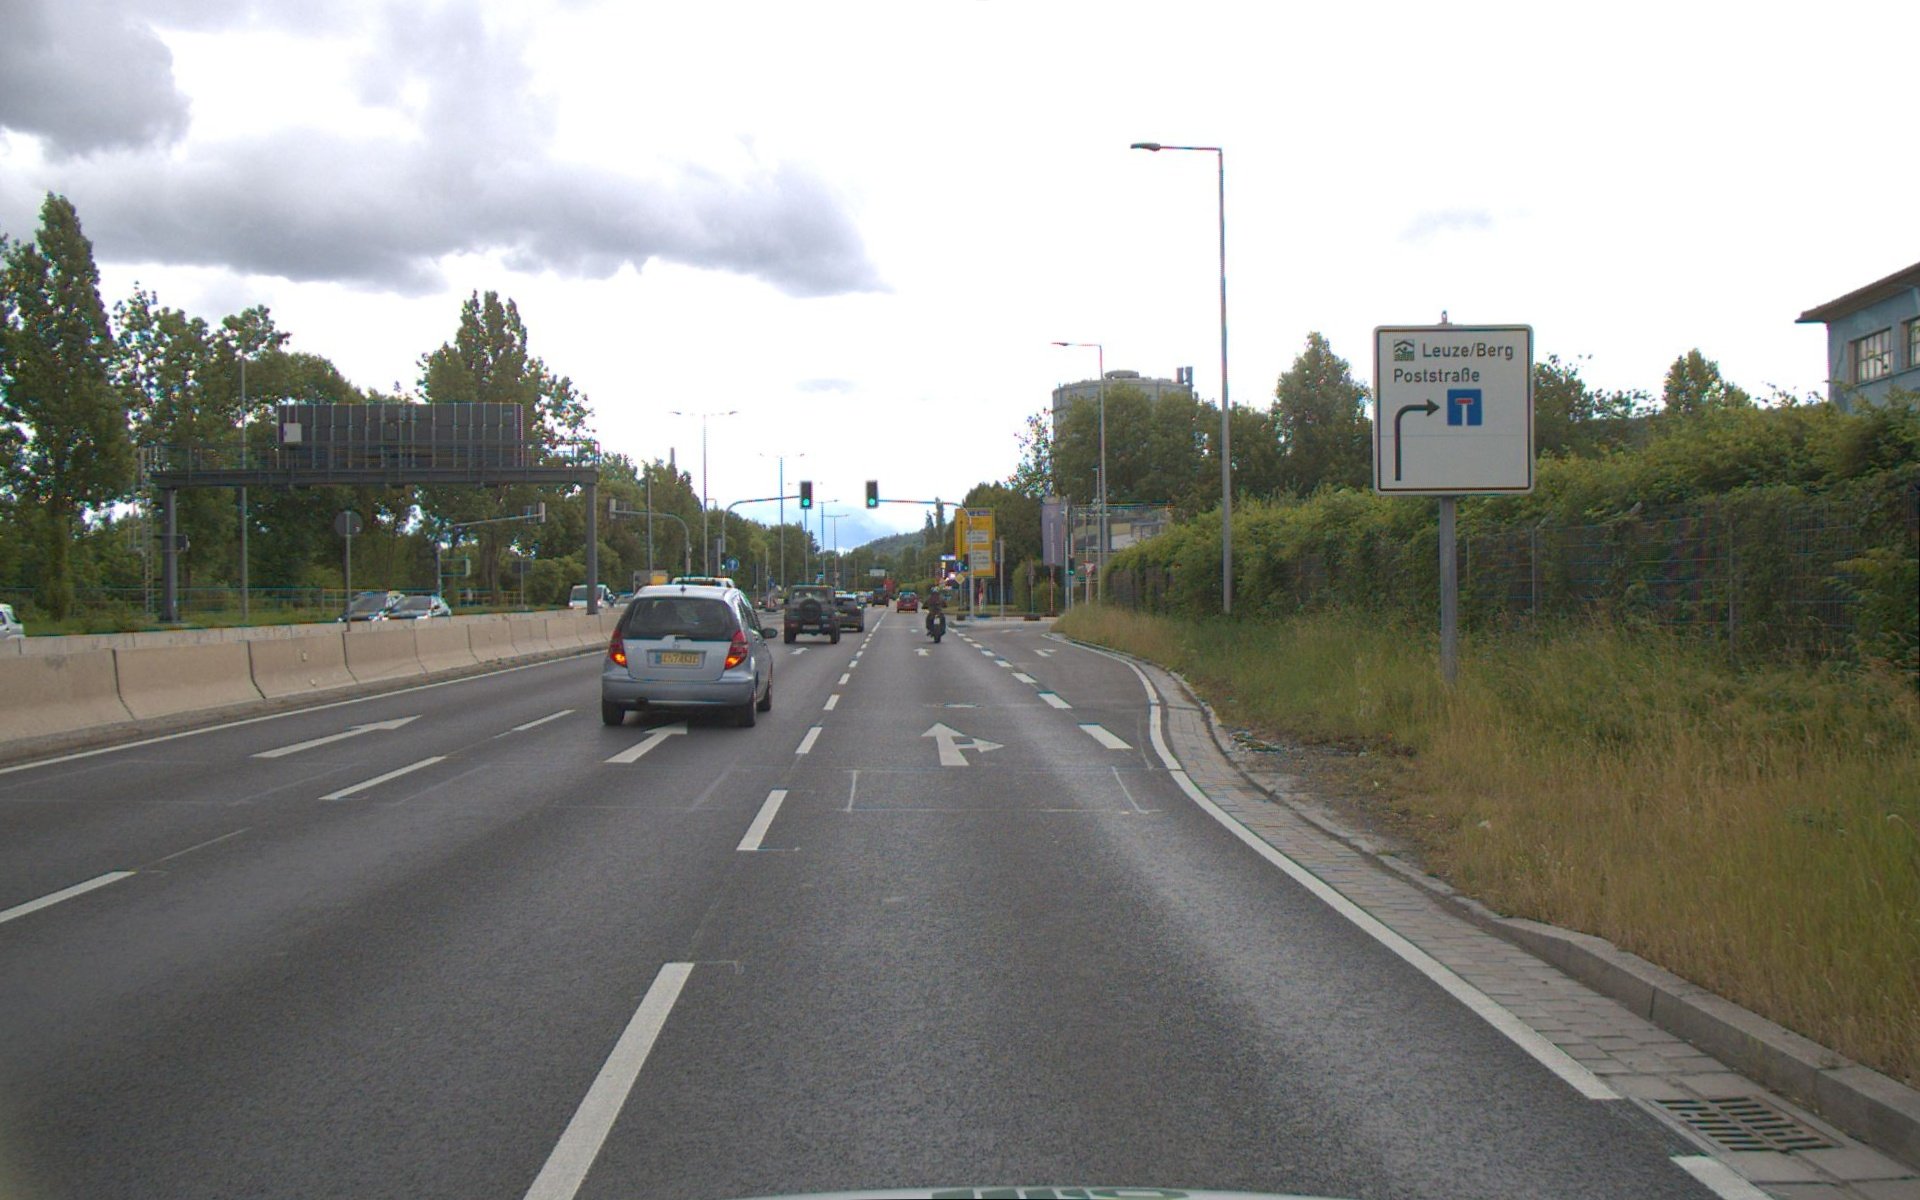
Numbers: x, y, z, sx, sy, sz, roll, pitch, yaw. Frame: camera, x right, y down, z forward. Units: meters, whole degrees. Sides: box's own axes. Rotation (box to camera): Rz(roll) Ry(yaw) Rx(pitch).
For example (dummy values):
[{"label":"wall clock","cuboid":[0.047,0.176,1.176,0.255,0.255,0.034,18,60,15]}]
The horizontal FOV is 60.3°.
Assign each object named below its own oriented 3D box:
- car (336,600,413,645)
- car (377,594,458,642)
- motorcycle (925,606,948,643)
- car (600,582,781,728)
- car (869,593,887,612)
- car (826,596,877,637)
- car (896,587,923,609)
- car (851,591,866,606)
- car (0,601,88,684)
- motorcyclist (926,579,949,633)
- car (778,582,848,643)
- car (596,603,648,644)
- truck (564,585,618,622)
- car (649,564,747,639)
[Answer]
[{"label":"car","cuboid":[-23.842,0.903,67.456,1.840,1.712,3.926,1,0,-2]},{"label":"car","cuboid":[-20.568,0.660,62.844,1.840,1.712,4.124,1,0,-2]},{"label":"motorcycle","cuboid":[-0.712,0.744,50.826,0.692,1.058,2.027,1,0,-1]},{"label":"car","cuboid":[-3.161,0.583,20.062,1.676,1.556,3.998,1,0,-3]},{"label":"car","cuboid":[-9.243,0.242,186.169,1.953,2.049,3.999,1,0,-2]},{"label":"car","cuboid":[-4.226,0.638,64.886,1.803,1.489,3.999,1,0,-2]},{"label":"car","cuboid":[-3.886,-0.166,127.702,1.954,1.579,3.998,1,0,-3]},{"label":"car","cuboid":[-13.894,-0.184,226.727,1.953,2.049,3.999,1,0,-2]},{"label":"car","cuboid":[-21.839,0.925,37.677,1.840,1.712,4.120,1,0,-2]},{"label":"motorcyclist","cuboid":[-0.698,0.181,50.906,0.671,1.638,0.845,1,0,-1]},{"label":"car","cuboid":[-4.422,0.347,50.222,1.869,1.713,3.999,1,0,-2]},{"label":"car","cuboid":[-18.149,1.257,89.008,1.953,2.049,4.679,1,0,-2]},{"label":"truck","cuboid":[-21.613,0.191,97.097,2.161,2.049,6.297,1,0,-4]},{"label":"car","cuboid":[-7.387,0.015,47.051,2.170,1.959,5.000,1,0,-3]}]
